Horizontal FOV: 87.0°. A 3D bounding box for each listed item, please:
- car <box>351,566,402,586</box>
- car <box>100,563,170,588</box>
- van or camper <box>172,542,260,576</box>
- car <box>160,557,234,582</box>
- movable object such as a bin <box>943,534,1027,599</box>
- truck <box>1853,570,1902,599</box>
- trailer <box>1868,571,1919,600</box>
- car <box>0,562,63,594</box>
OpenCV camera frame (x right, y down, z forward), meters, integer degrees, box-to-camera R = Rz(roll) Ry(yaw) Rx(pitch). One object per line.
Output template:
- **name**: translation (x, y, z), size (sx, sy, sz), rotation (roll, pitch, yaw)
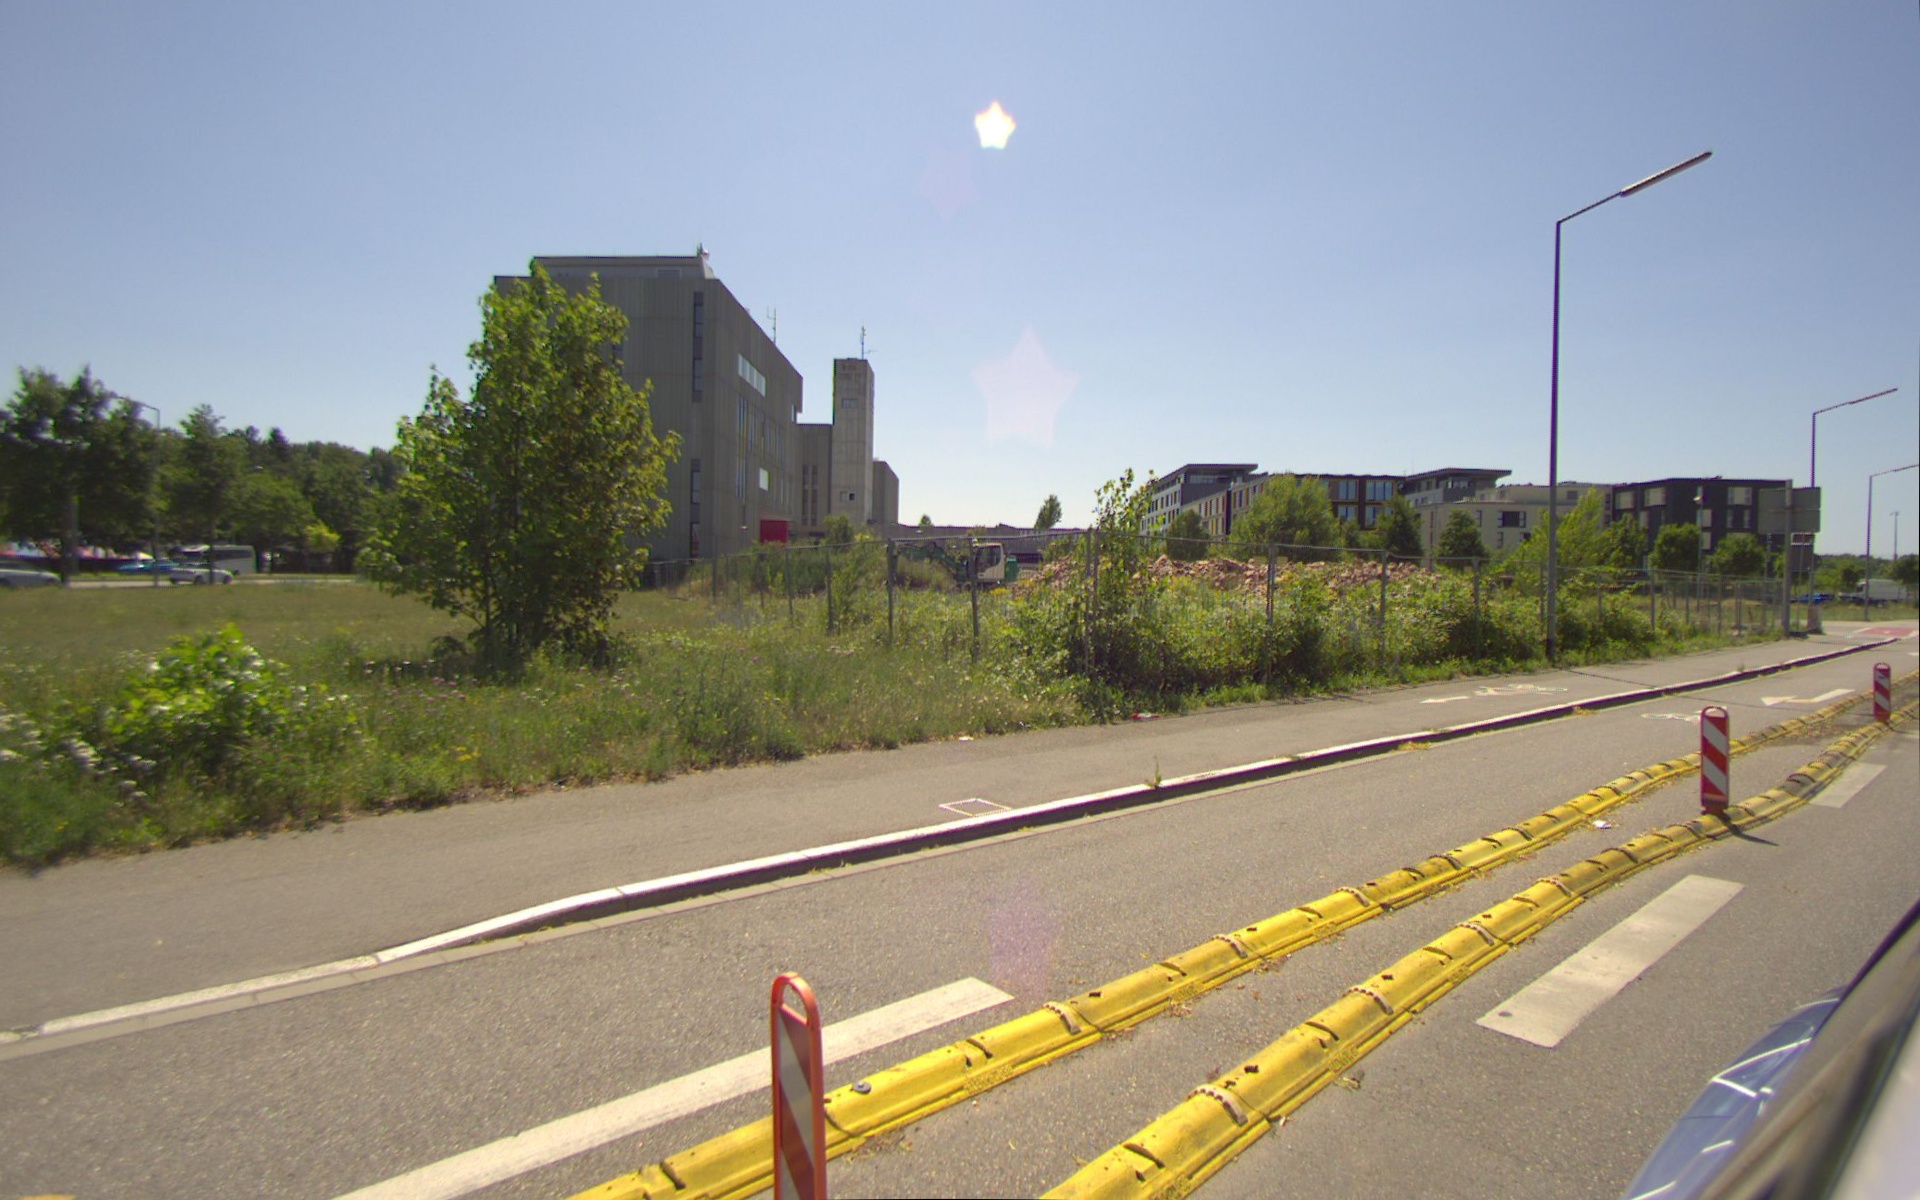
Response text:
- **car**: translation (-46.451, -1.905, 80.601), size (1.708, 1.571, 3.999), rotation (0, 1, 1)
- **car**: translation (-62.484, -1.815, 76.723), size (1.963, 1.861, 3.998), rotation (0, 1, 3)
- **van or camper**: translation (-65.115, -3.551, 88.836), size (2.464, 2.727, 7.516), rotation (0, 1, -2)
- **car**: translation (-49.070, -1.945, 65.147), size (1.708, 1.571, 3.999), rotation (0, 1, 1)
- **movable object such as a bin**: translation (1.272, -1.646, 50.833), size (3.619, 3.101, 2.207), rotation (0, 1, -36)
- **truck**: translation (112.117, -1.877, 123.723), size (3.928, 3.377, 1.998), rotation (1, 1, 4)
- **trailer**: translation (115.913, -1.767, 123.430), size (8.030, 3.390, 1.998), rotation (1, 1, 4)
- **car**: translation (-46.615, -1.057, 49.349), size (1.965, 1.523, 4.069), rotation (0, 1, 6)
